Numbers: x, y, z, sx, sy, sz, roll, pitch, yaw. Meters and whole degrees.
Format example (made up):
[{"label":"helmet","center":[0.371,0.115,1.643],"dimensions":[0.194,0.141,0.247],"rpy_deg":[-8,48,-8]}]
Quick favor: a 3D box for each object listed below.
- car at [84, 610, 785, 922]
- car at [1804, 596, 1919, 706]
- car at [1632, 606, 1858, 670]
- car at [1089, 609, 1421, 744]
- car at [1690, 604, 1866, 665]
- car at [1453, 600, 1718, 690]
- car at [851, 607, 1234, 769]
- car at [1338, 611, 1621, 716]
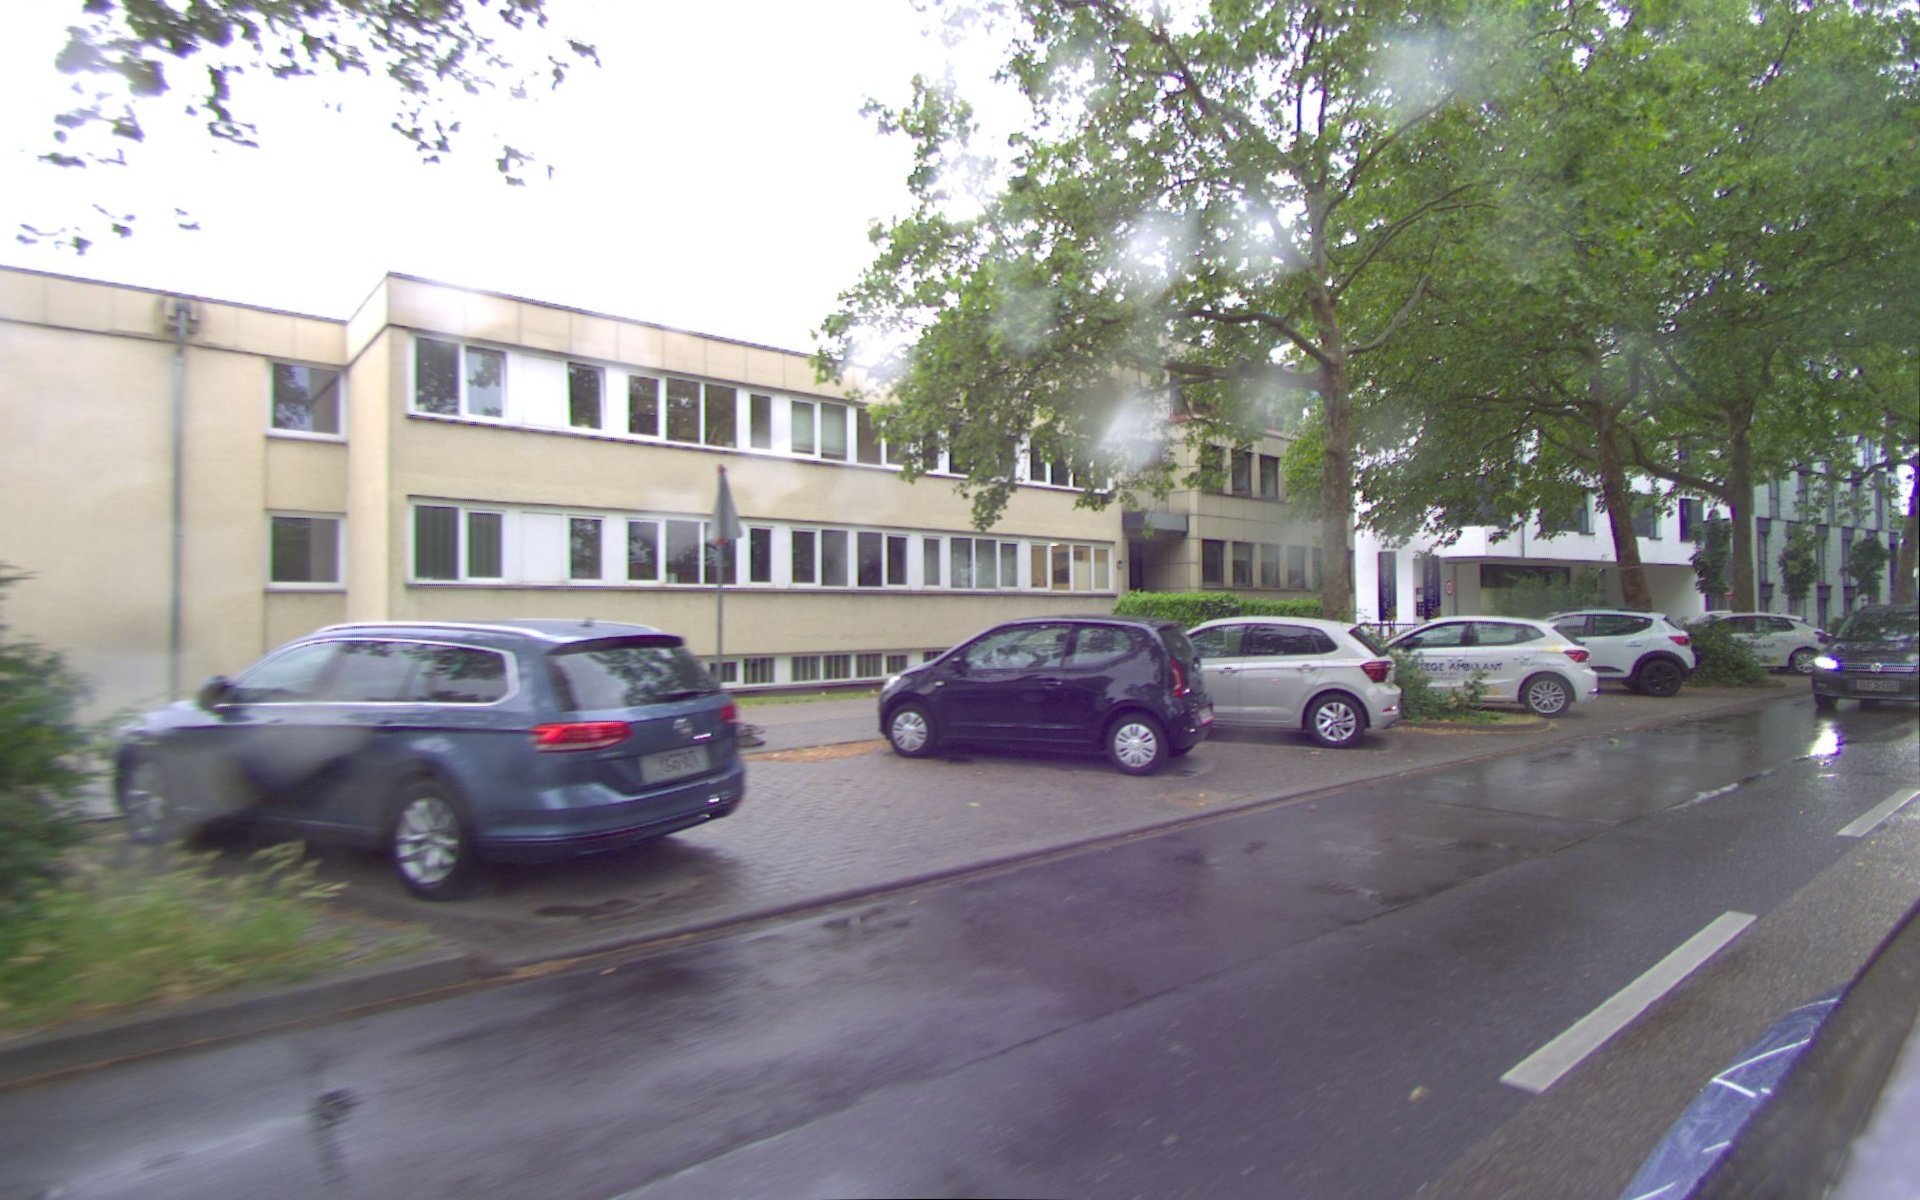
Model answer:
[{"label":"car","center":[-3.478,0.816,6.590],"dimensions":[4.448,1.477,1.734],"rpy_deg":[-1,-1,25]},{"label":"car","center":[16.026,0.743,16.836],"dimensions":[5.489,1.615,1.998],"rpy_deg":[0,-1,-39]},{"label":"car","center":[18.905,0.883,24.603],"dimensions":[3.994,1.446,1.735],"rpy_deg":[-1,-1,24]},{"label":"car","center":[3.576,0.837,12.345],"dimensions":[3.651,1.434,1.761],"rpy_deg":[-1,-1,24]},{"label":"car","center":[22.184,0.895,27.562],"dimensions":[3.629,1.524,1.724],"rpy_deg":[0,-1,40]},{"label":"car","center":[11.645,0.796,19.187],"dimensions":[3.991,1.559,1.736],"rpy_deg":[-1,-1,22]},{"label":"car","center":[0.874,0.808,10.590],"dimensions":[3.651,1.434,1.735],"rpy_deg":[-1,-1,24]},{"label":"car","center":[7.853,0.892,15.548],"dimensions":[3.657,1.434,1.732],"rpy_deg":[-1,-1,27]}]
